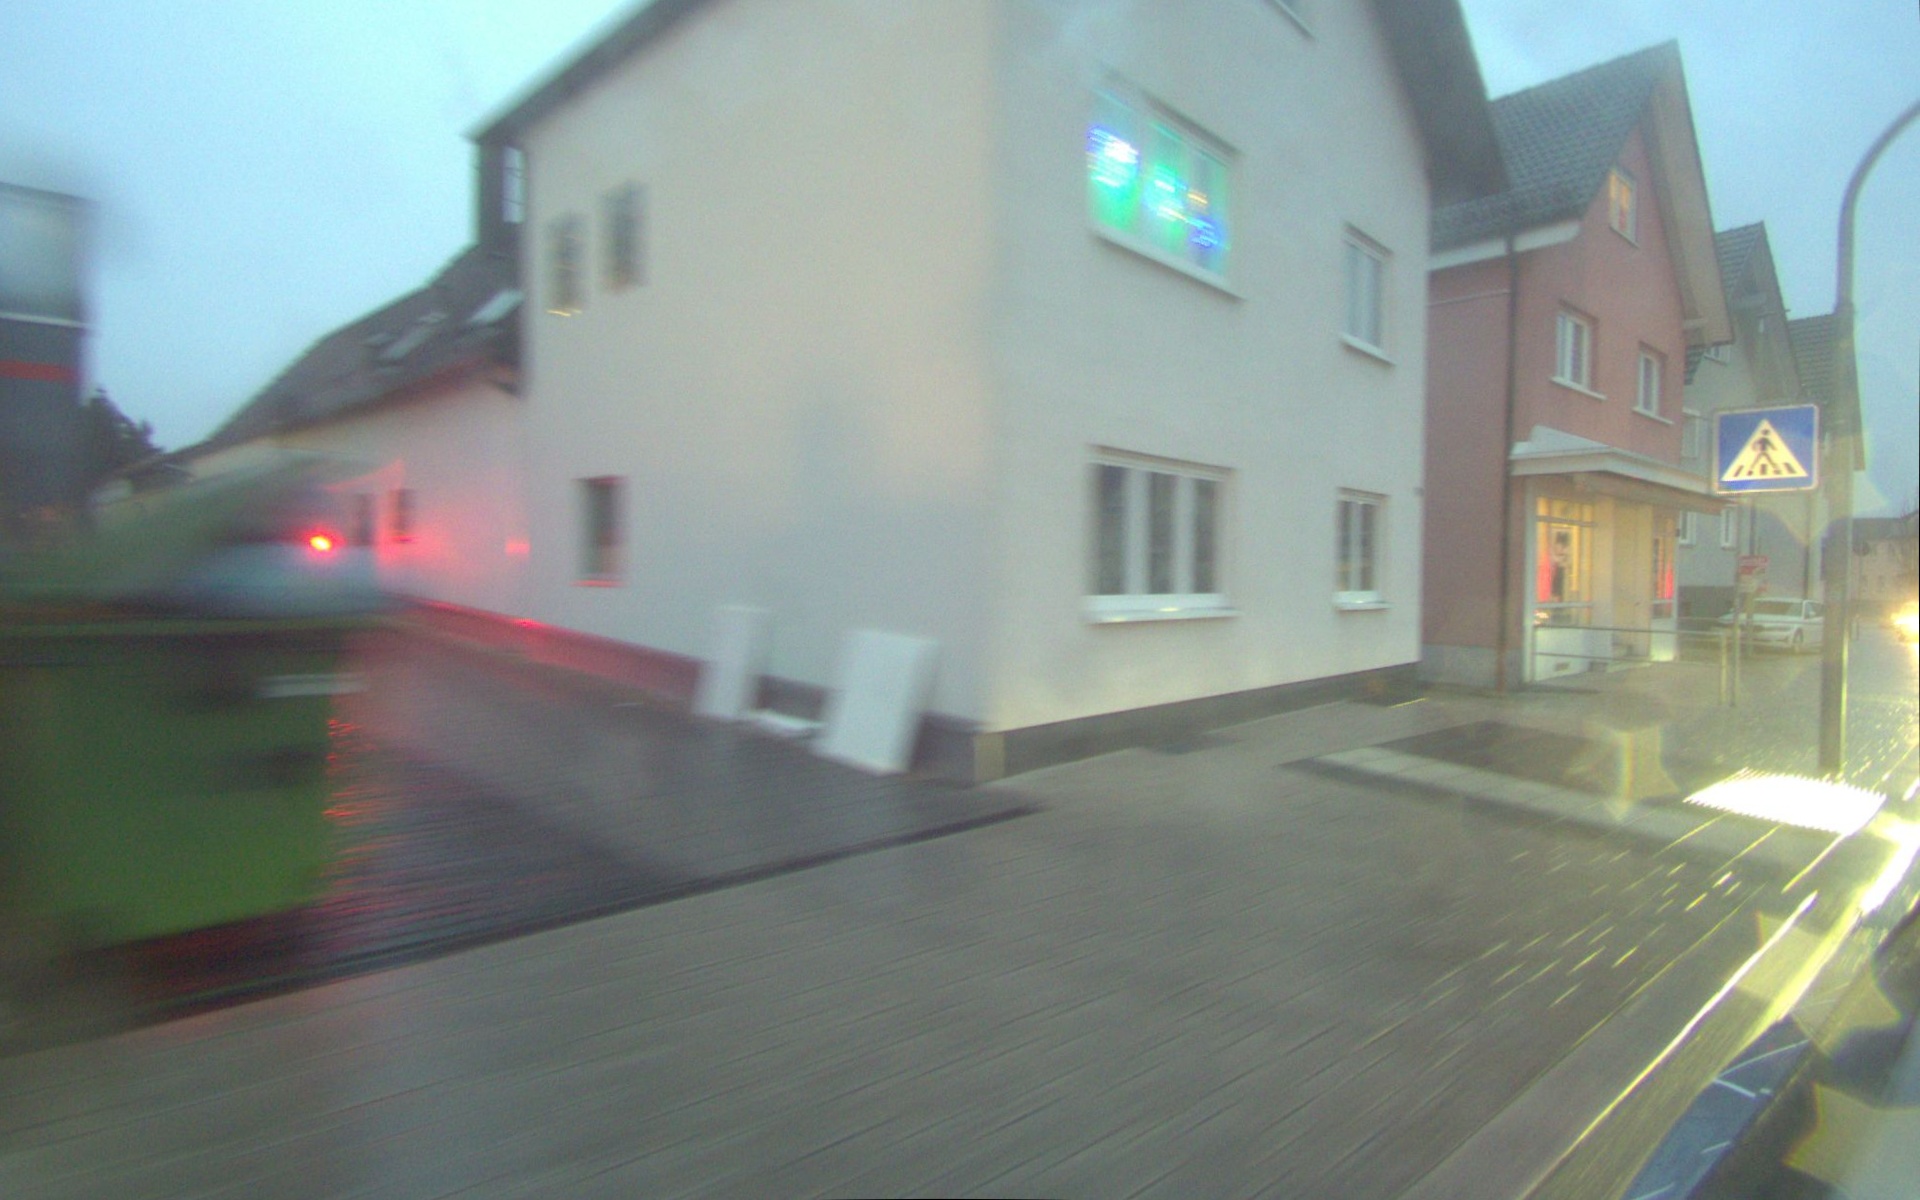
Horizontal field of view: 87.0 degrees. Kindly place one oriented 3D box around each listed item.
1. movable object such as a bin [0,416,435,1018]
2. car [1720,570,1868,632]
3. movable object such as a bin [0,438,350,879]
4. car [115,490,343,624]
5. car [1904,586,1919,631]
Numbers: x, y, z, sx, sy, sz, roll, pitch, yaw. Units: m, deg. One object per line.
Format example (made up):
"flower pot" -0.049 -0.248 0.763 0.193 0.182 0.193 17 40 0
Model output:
"movable object such as a bin" -2.782 0.290 3.613 1.241 1.664 1.394 1 3 -44
"car" 22.200 -0.020 26.882 4.608 1.504 1.936 -1 1 -36
"movable object such as a bin" -3.657 0.186 4.662 1.166 1.664 1.287 1 3 -44
"car" -10.848 -0.714 14.930 3.987 1.694 1.970 5 5 43
"car" 40.368 0.351 41.246 1.984 1.878 3.955 0 0 31
